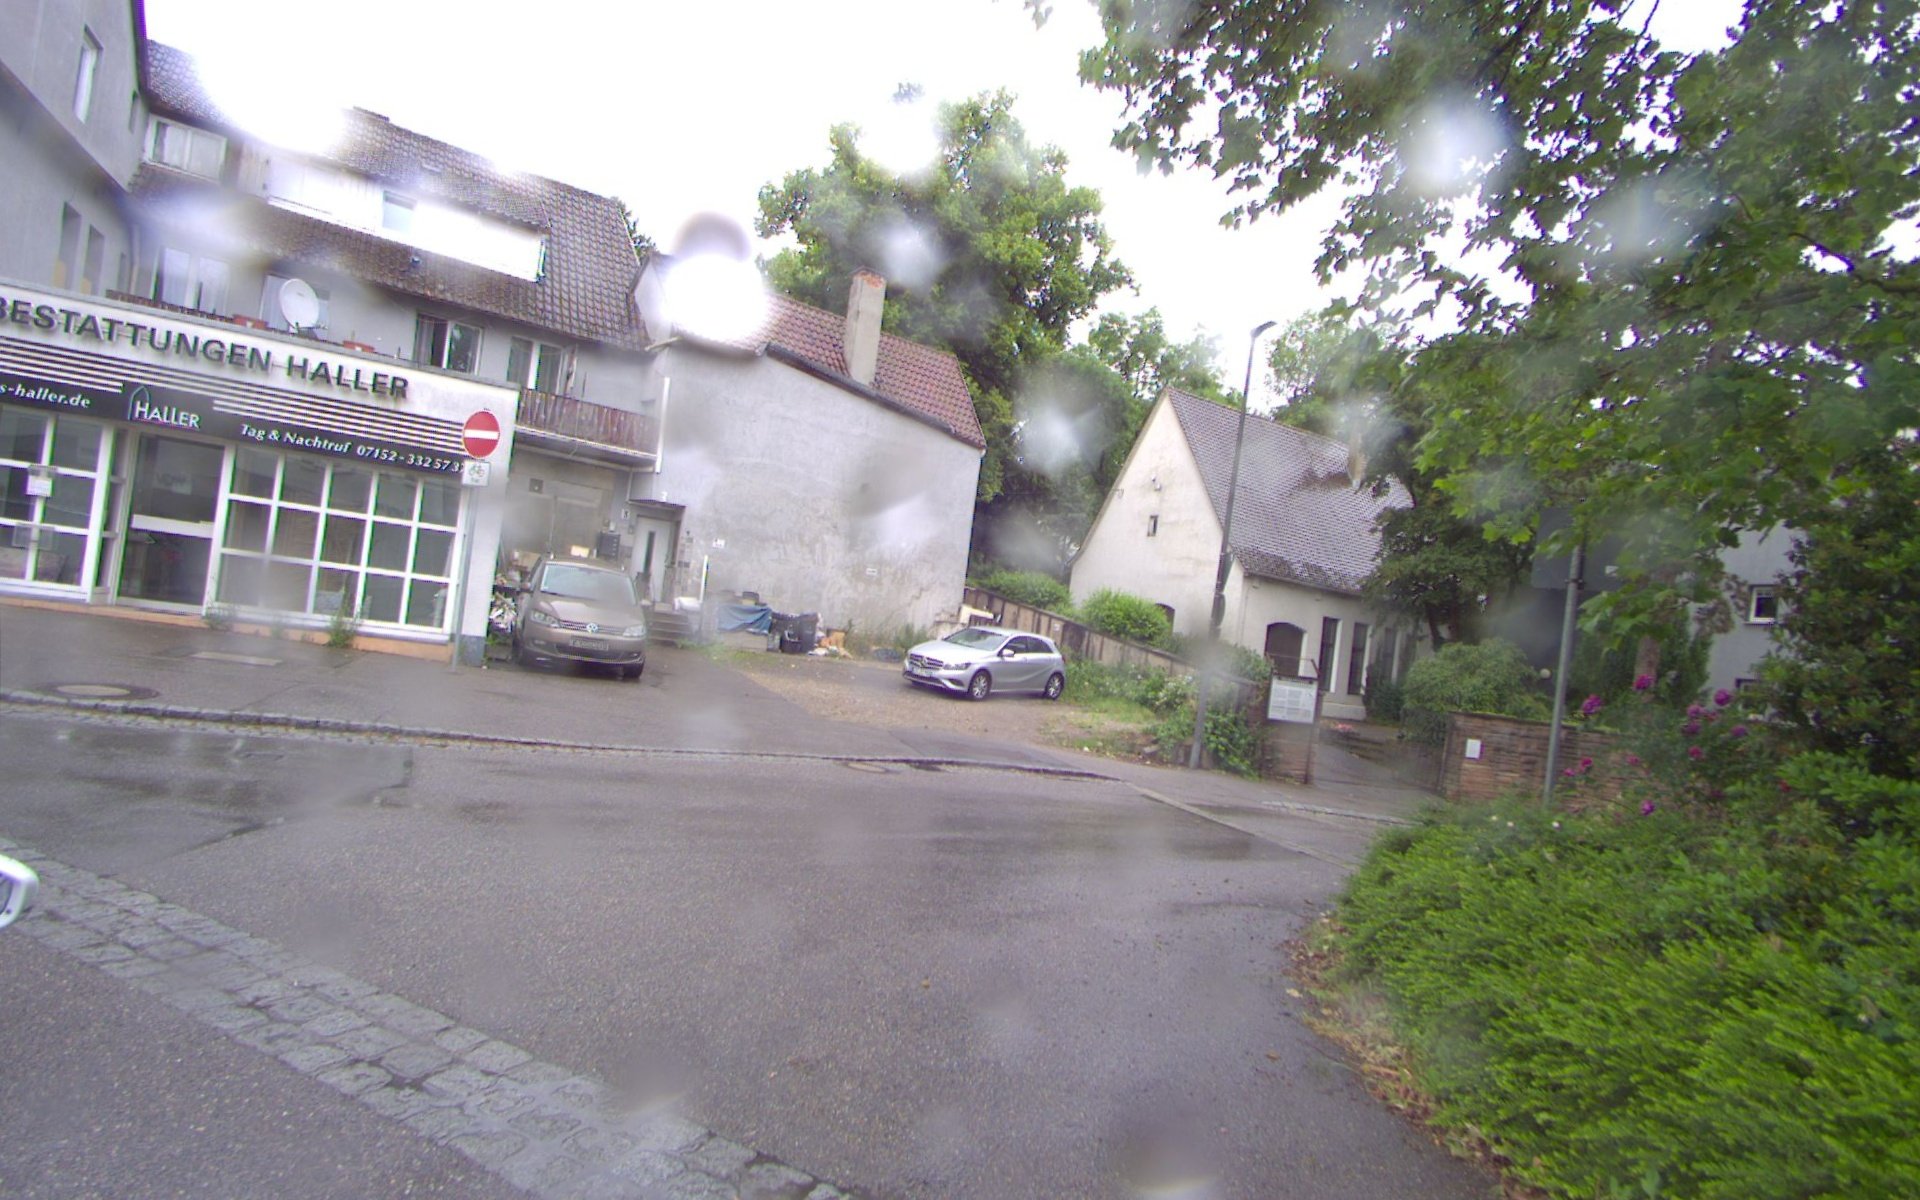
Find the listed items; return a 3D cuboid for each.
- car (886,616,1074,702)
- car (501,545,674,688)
[{"bbox_3d":[0.513,1.294,21.371,1.717,1.406,4.022,10,2,40],"label":"car"},{"bbox_3d":[-6.271,0.164,16.559,1.908,1.749,4.634,8,0,-28],"label":"car"}]
